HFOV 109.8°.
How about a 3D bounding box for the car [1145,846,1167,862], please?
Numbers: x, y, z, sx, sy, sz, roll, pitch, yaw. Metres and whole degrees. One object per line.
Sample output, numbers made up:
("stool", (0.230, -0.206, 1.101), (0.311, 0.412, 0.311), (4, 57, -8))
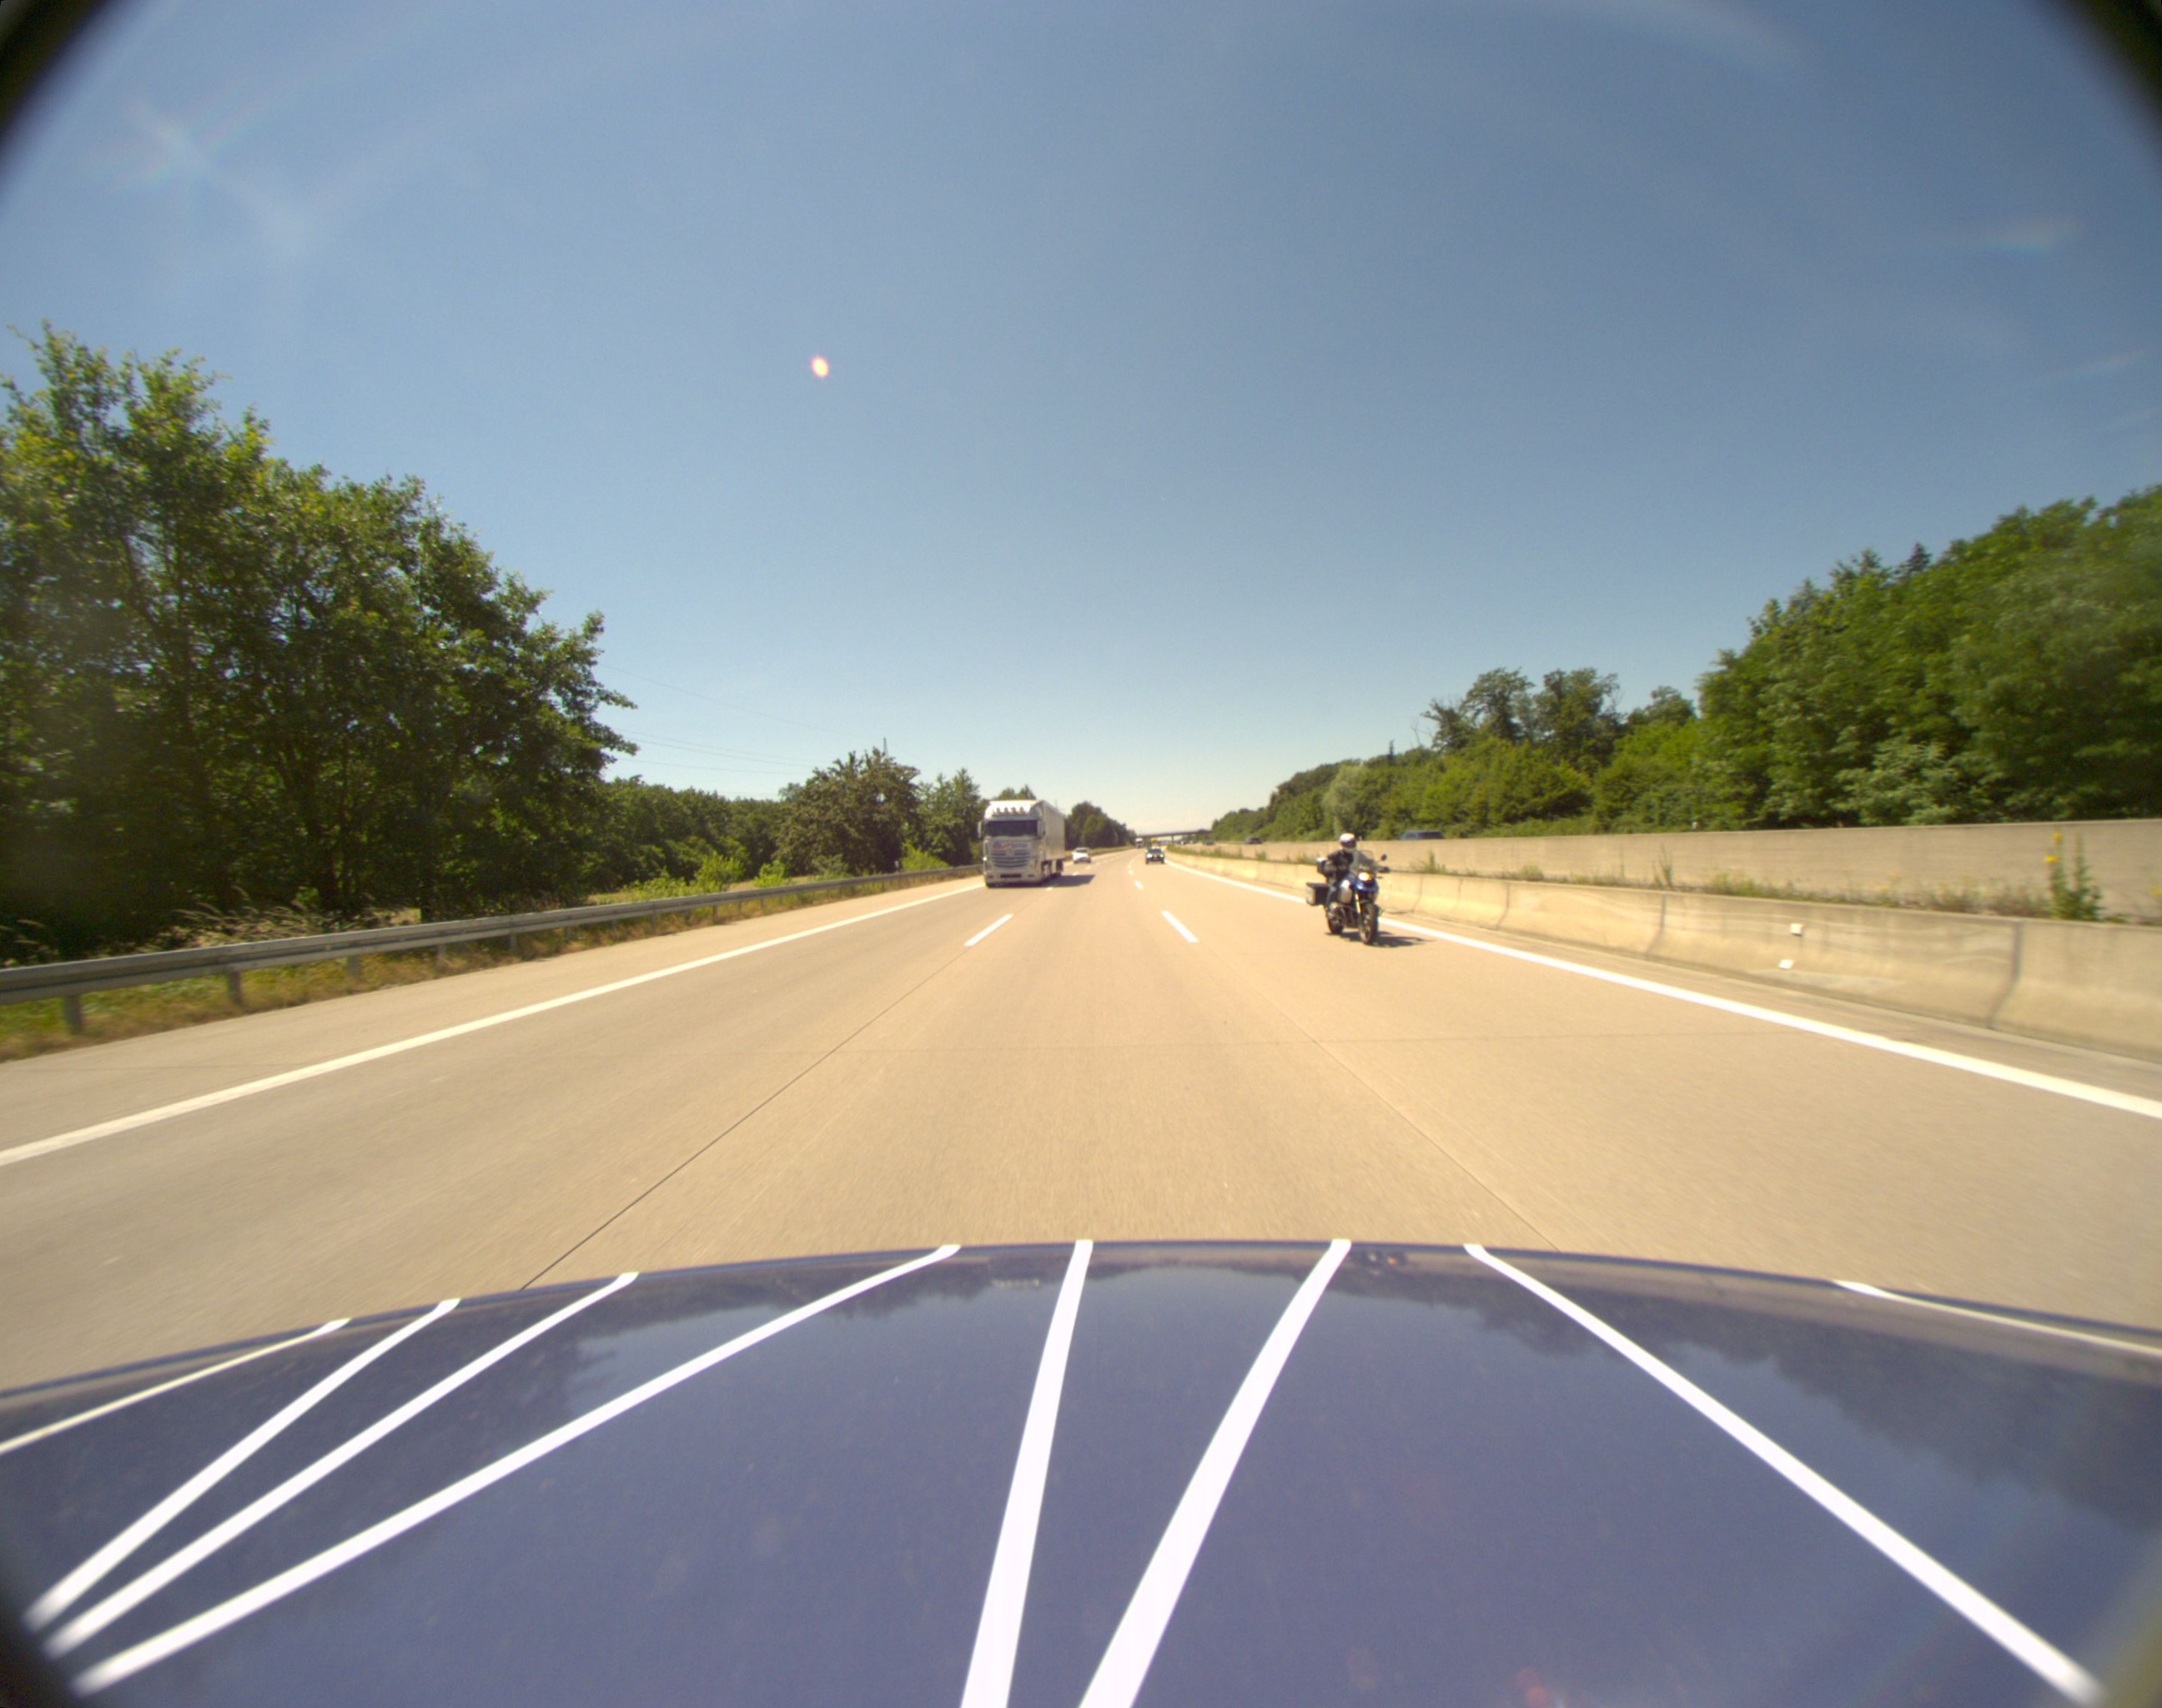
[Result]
("car", (7.511, -0.039, 75.947), (1.997, 1.518, 4.002), (-1, 1, 7))

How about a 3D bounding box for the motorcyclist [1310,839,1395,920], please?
("motorcyclist", (4.278, 0.390, 12.051), (1.027, 1.202, 0.911), (-2, 0, 2))

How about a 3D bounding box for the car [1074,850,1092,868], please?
("car", (0.240, 0.615, 93.585), (1.884, 1.878, 5.279), (-5, 0, -2))

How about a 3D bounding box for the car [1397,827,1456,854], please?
("car", (18.839, -0.699, 41.557), (1.616, 1.319, 3.641), (-3, 0, 2))

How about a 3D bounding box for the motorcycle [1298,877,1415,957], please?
("motorcycle", (4.306, 0.944, 12.150), (1.024, 1.042, 2.413), (-2, 0, 1))

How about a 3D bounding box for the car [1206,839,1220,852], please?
("car", (20.718, -1.301, 119.657), (1.663, 1.911, 4.007), (-3, 1, 3))

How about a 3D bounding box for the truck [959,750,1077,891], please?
("truck", (-2.766, -1.469, 41.869), (3.585, 5.753, 18.249), (-5, 0, 3))

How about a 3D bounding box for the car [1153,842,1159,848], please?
("car", (20.691, -2.362, 209.526), (1.580, 1.565, 3.675), (-2, 1, 2))

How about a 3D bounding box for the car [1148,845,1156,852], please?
("car", (15.966, -1.251, 171.678), (1.586, 1.527, 3.613), (-5, 0, 7))

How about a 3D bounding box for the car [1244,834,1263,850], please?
("car", (21.967, -1.541, 96.691), (1.663, 1.911, 4.139), (-3, 1, 3))
